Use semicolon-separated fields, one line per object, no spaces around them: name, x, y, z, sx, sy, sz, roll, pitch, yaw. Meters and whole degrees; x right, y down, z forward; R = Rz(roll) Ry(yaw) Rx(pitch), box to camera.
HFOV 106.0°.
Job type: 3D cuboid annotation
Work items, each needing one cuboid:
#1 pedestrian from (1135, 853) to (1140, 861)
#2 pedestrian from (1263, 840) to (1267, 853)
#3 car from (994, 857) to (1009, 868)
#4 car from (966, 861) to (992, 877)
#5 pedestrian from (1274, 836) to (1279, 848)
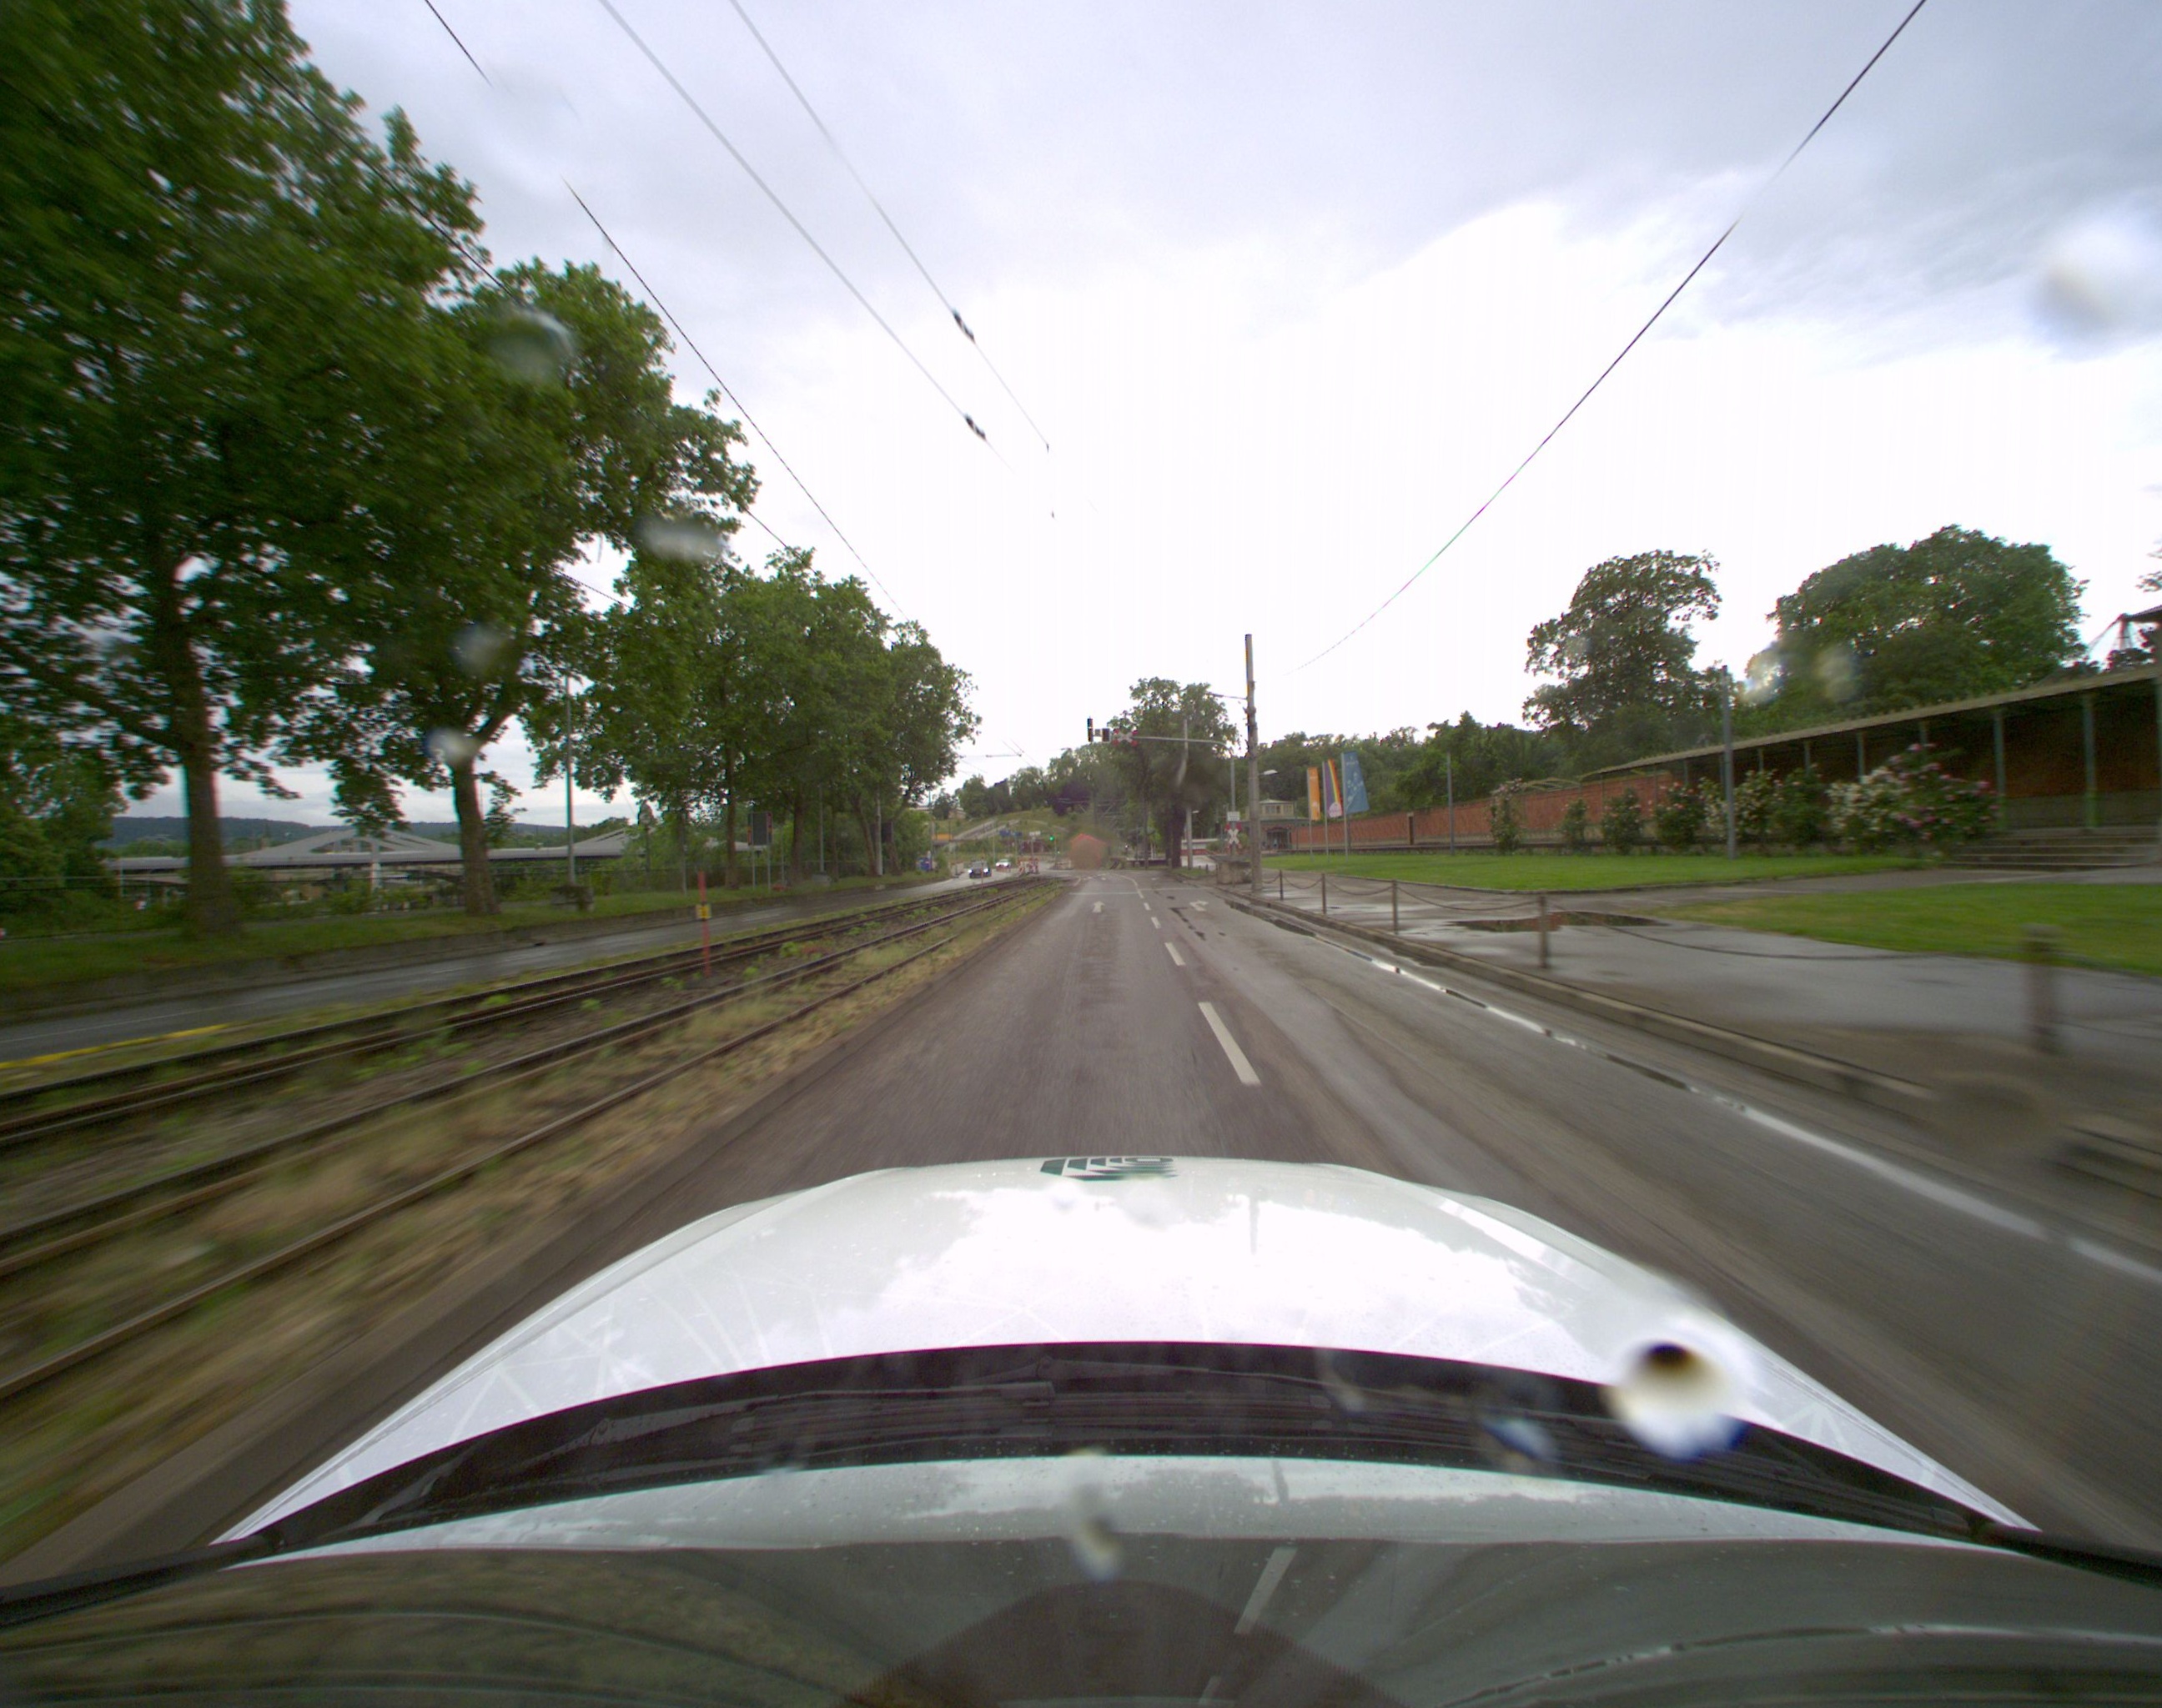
pedestrian;7.474;0.375;108.028;0.600;1.119;0.518;2;-1;-13
pedestrian;26.104;-1.064;115.322;0.527;1.711;0.698;0;-2;14
car;-12.258;1.342;125.838;1.703;1.499;4.720;-3;0;1
car;-9.652;1.402;77.419;1.740;1.430;4.562;-4;0;1
pedestrian;27.537;-1.627;114.656;0.544;1.657;0.472;-3;-2;37
